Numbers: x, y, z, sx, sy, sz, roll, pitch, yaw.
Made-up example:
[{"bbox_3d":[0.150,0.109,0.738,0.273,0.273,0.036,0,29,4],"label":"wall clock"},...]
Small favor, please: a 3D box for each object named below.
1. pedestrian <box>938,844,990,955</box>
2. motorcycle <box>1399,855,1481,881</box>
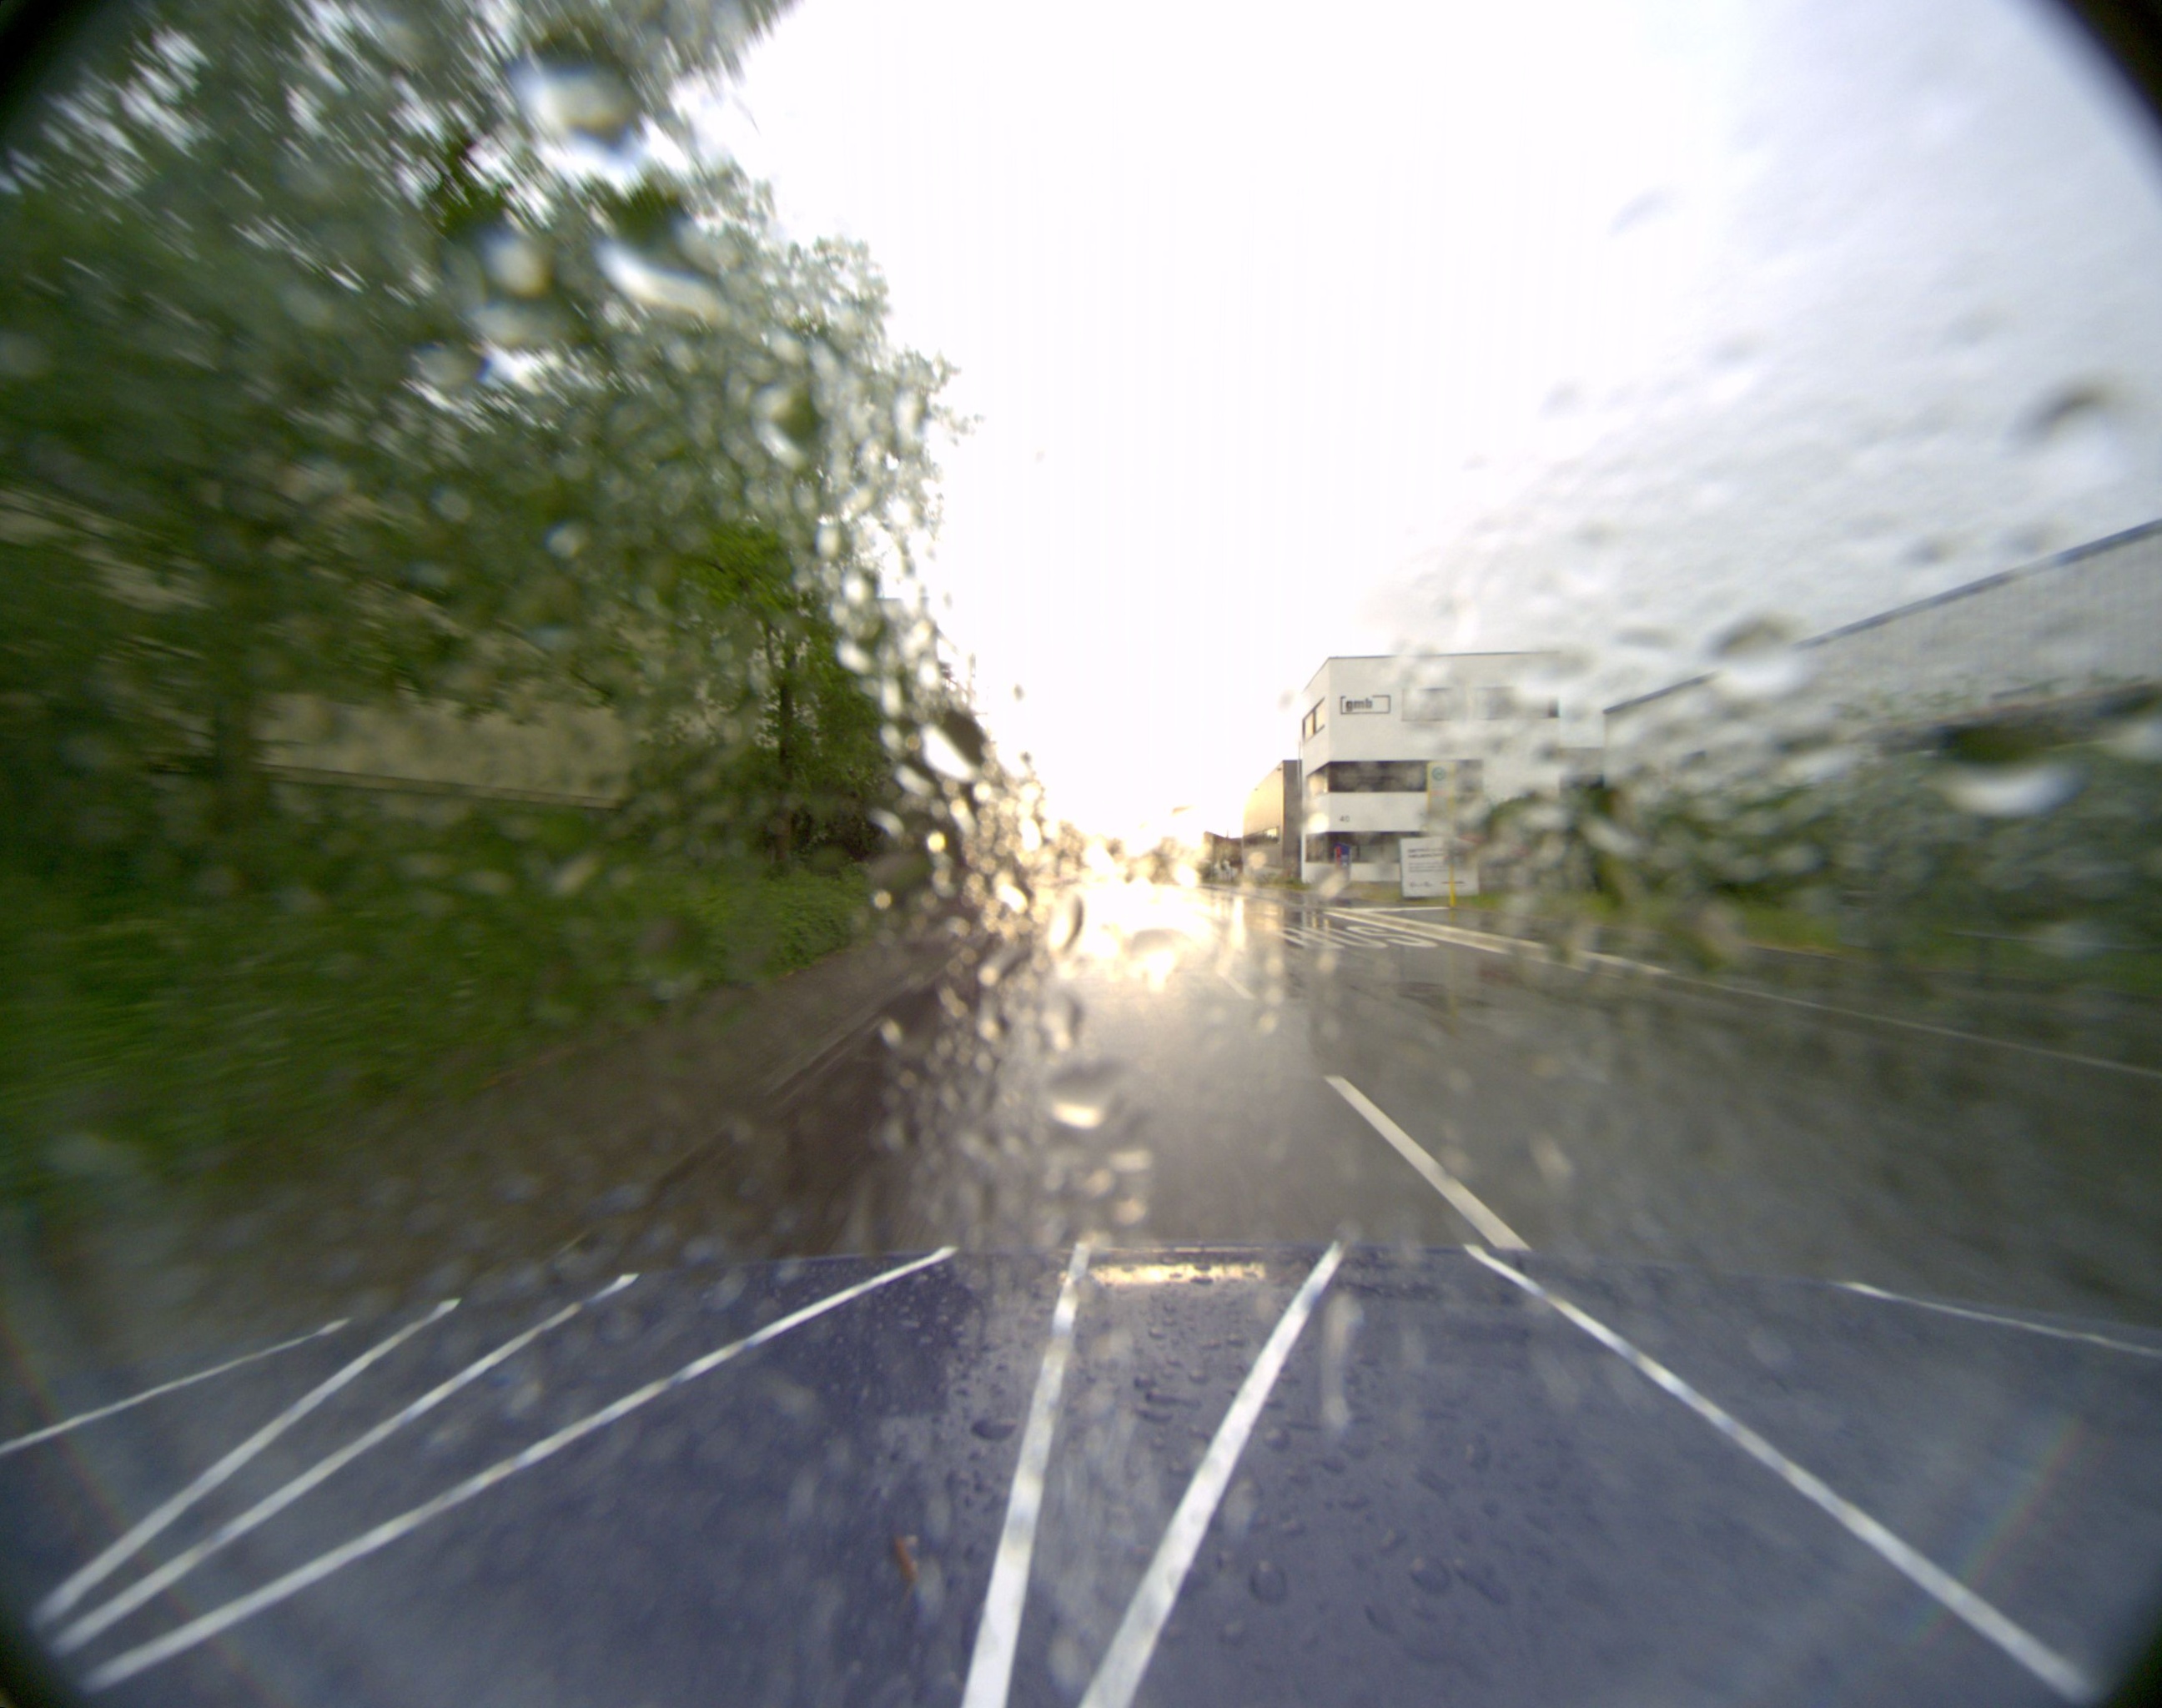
[{"bbox_3d":[-1.994,0.756,13.050,0.747,1.827,0.890,1,0,-1],"label":"pedestrian"},{"bbox_3d":[18.283,0.718,38.784,3.692,1.237,0.778,-1,0,8],"label":"motorcycle"}]
